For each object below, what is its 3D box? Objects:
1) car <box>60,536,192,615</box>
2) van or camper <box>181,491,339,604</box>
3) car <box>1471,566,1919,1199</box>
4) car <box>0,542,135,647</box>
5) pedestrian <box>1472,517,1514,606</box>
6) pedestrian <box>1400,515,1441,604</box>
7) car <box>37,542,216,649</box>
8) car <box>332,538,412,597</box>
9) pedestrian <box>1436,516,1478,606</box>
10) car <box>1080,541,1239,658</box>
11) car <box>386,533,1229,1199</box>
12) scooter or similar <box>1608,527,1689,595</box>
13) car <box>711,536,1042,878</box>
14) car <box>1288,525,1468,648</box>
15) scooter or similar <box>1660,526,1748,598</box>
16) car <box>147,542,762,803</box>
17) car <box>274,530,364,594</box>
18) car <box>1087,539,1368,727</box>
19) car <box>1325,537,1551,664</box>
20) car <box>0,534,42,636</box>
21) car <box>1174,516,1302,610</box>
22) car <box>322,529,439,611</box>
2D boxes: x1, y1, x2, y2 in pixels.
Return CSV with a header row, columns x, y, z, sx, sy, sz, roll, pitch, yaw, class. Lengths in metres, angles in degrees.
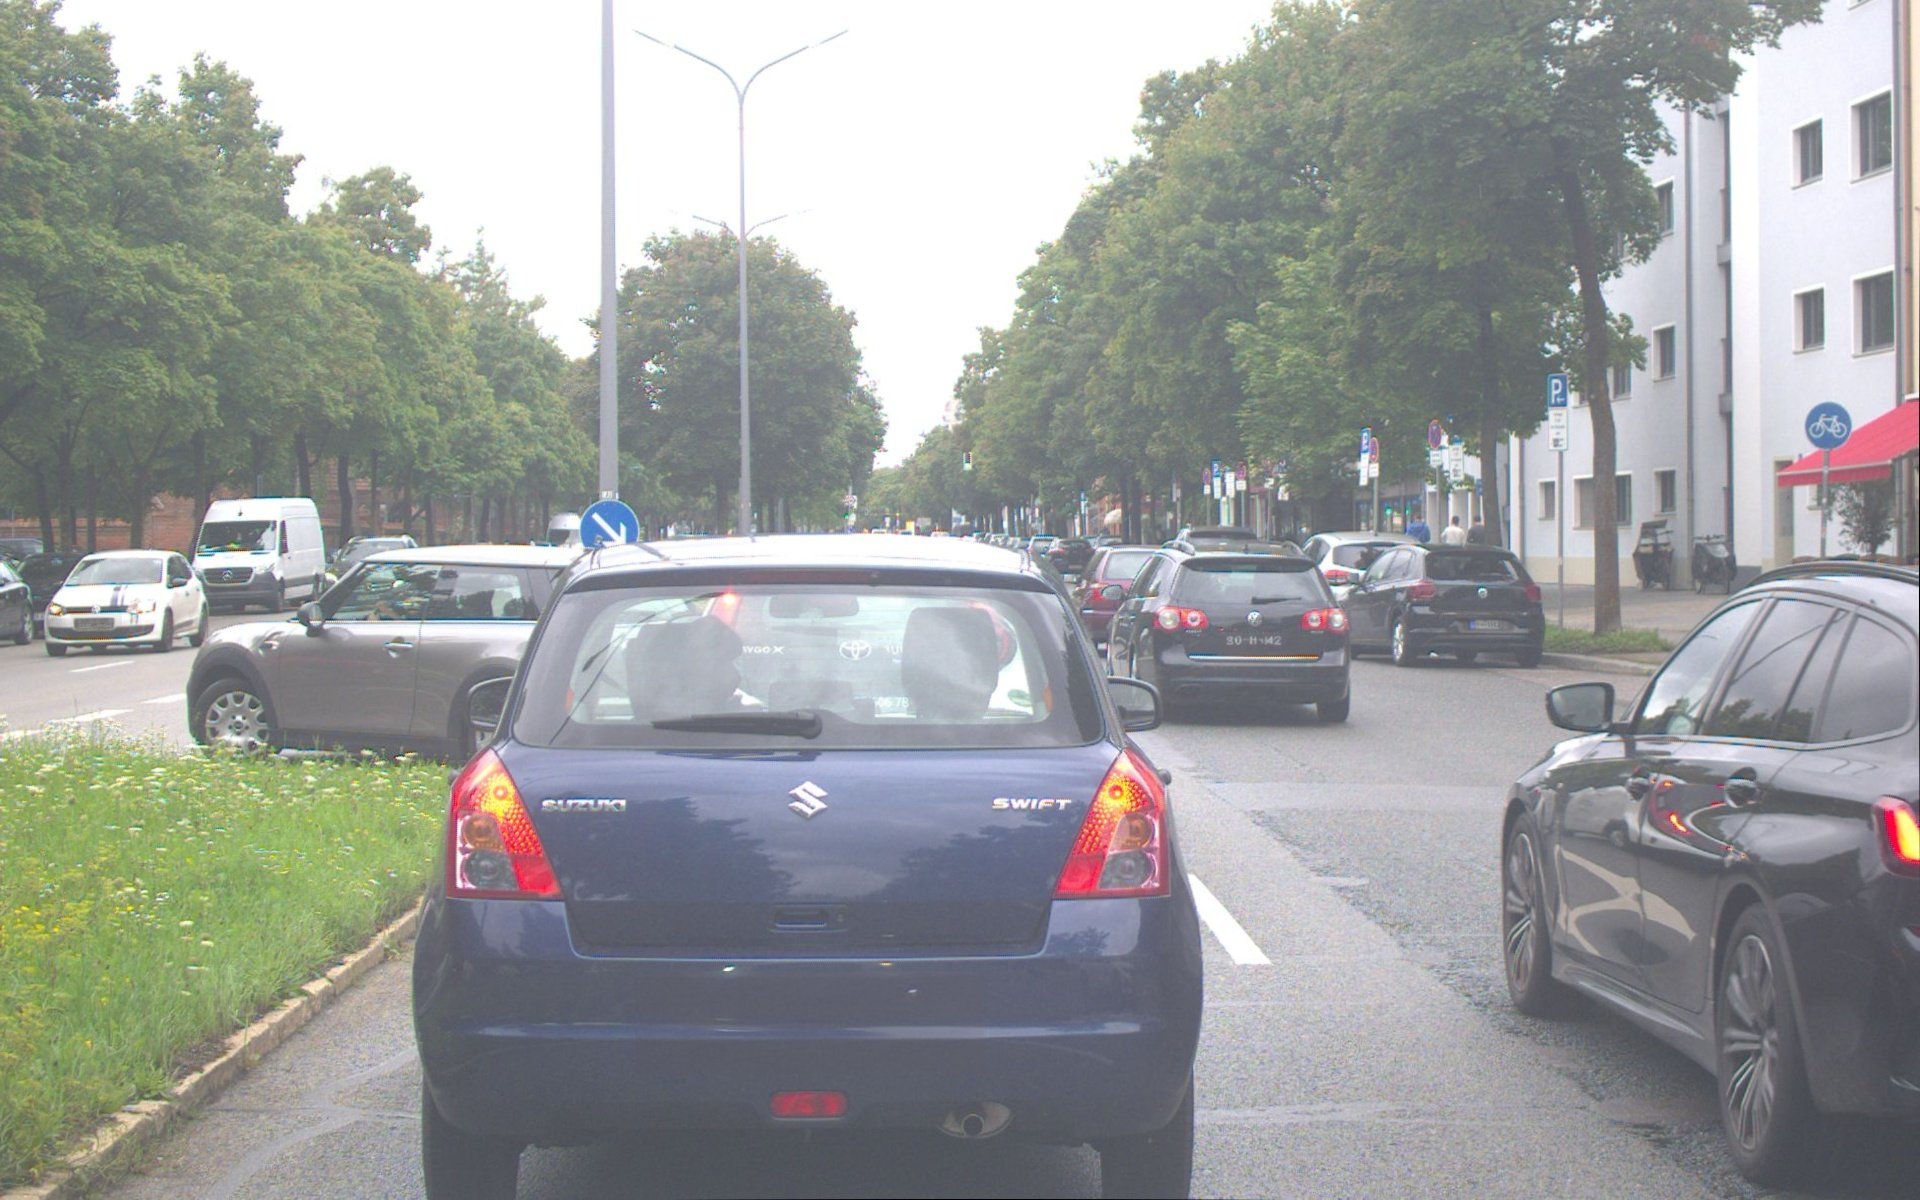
x,y,z,sx,sy,sz,roll,pitch,yaw,class
-15.736,-0.477,65.011,1.632,1.426,3.879,1,1,-2,car
-16.040,-1.209,79.183,2.117,2.473,7.449,1,1,0,van or camper
2.608,0.661,9.082,1.758,1.408,4.463,1,1,-1,car
-15.557,-0.123,59.681,1.632,1.735,3.879,1,1,-2,car
12.067,-0.880,77.901,0.794,2.007,1.006,0,1,0,pedestrian
10.408,-0.920,77.738,0.794,2.007,1.006,0,1,0,pedestrian
-11.714,-0.093,48.550,1.618,1.370,3.838,-2,1,-1,car
-16.183,-0.916,94.717,1.632,1.577,3.879,1,1,-2,car
11.222,-0.885,77.642,0.794,2.007,1.006,0,1,0,pedestrian
2.482,-0.042,43.583,1.682,1.379,3.919,1,1,-1,car
-0.368,0.587,8.837,1.682,1.496,3.919,0,1,-2,car
13.571,-0.788,67.844,1.033,1.303,2.755,0,1,0,scooter or similar
-0.418,0.441,16.575,1.444,1.478,3.107,0,1,-2,car
5.605,-0.224,46.556,1.791,1.553,4.225,-1,1,-2,car
13.835,-0.720,63.988,1.033,1.303,2.755,0,1,0,scooter or similar
-3.188,0.382,21.385,3.730,1.458,1.684,1,2,38,car
-16.207,-0.978,87.067,1.632,1.577,3.879,1,1,-2,car
2.195,0.225,29.352,1.731,1.427,4.443,1,1,-4,car
5.715,-0.033,41.617,1.865,1.412,4.225,-1,1,-4,car
-15.494,-0.249,53.301,1.590,1.553,3.879,1,1,-2,car
5.156,-0.725,64.318,1.865,1.677,4.225,-1,1,-2,car
-12.308,-0.669,73.208,1.766,1.618,4.507,-2,1,-1,car
